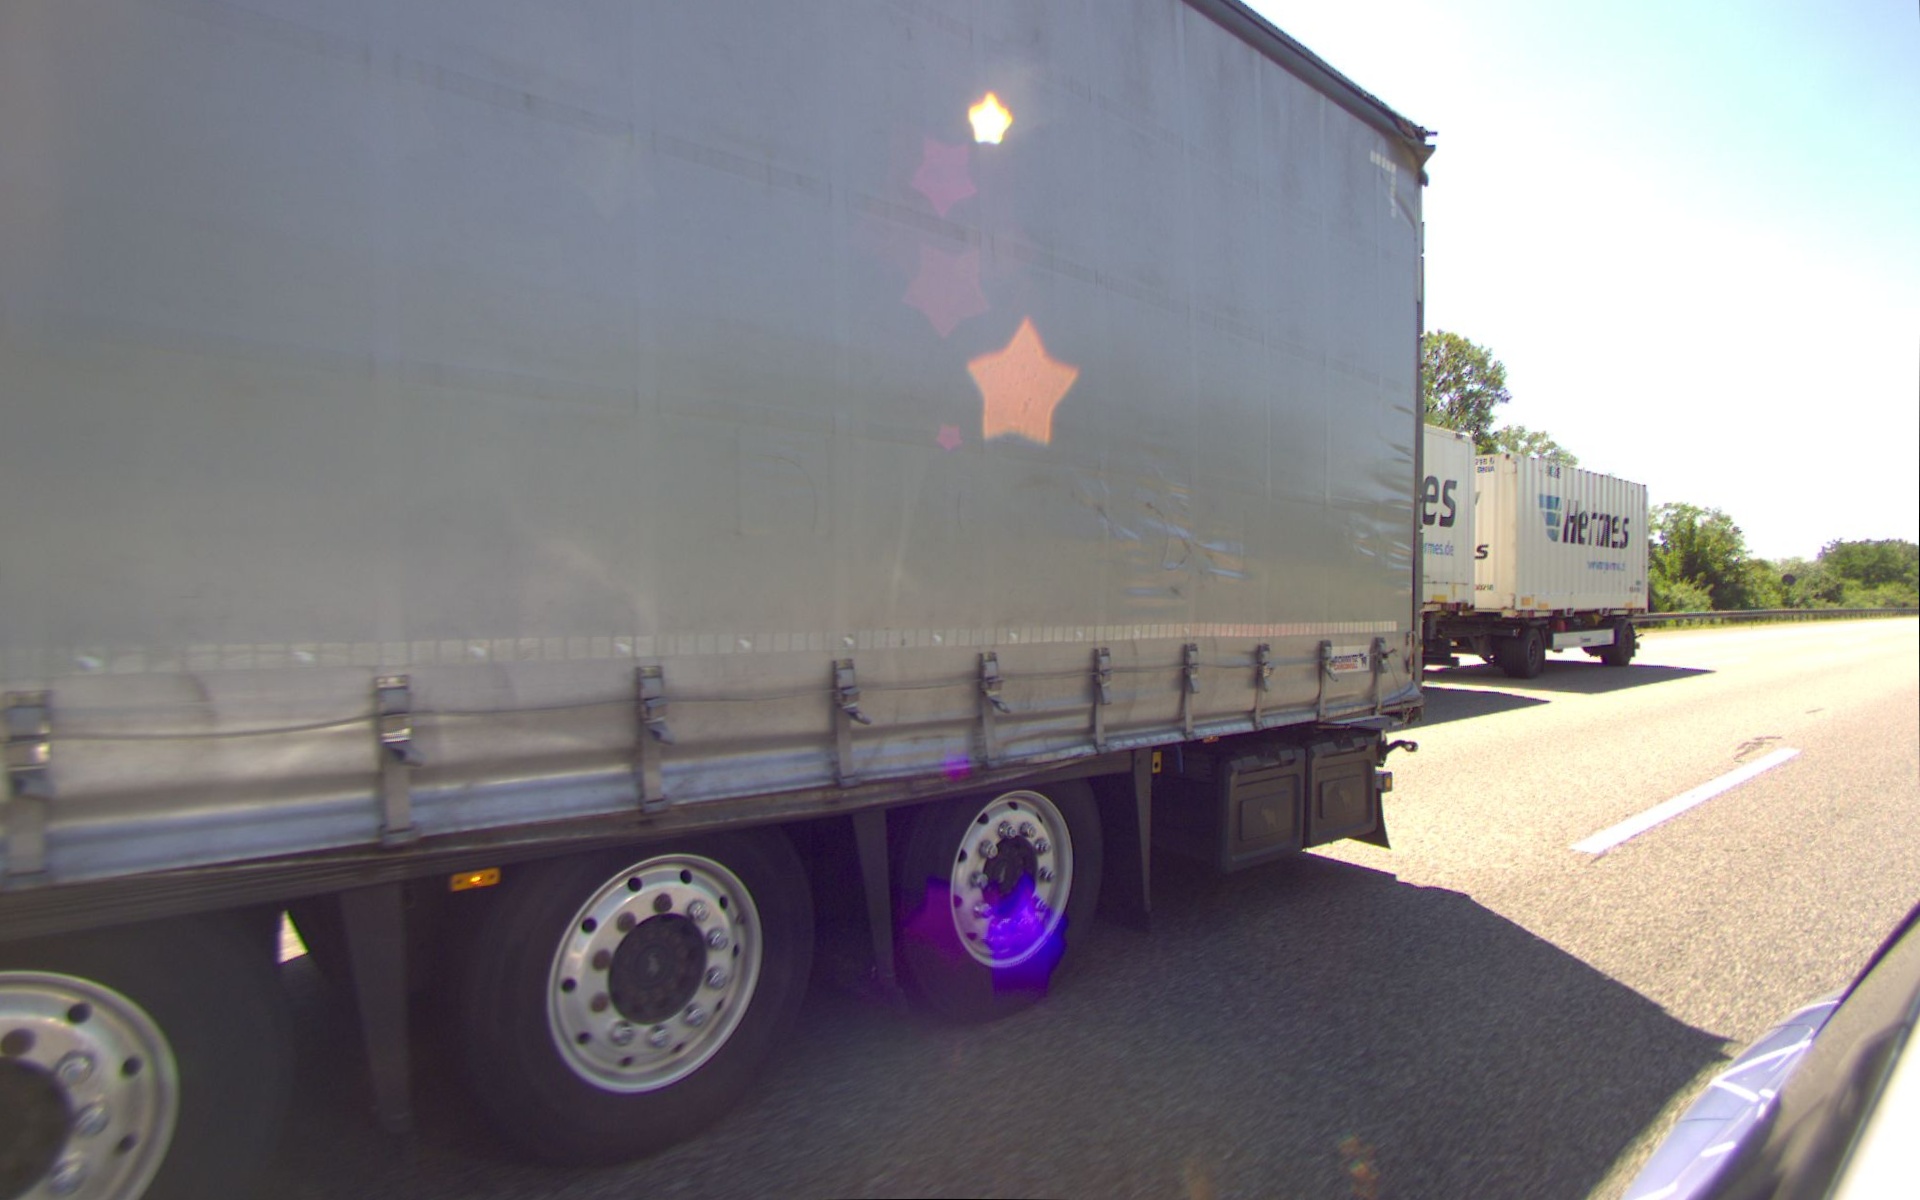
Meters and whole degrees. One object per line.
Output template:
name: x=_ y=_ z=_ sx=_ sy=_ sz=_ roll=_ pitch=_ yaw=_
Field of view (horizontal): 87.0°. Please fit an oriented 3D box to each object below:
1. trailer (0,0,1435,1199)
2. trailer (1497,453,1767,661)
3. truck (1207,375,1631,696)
trailer: x=-3.537 y=-0.646 z=1.766 sx=13.415 sy=4.025 sz=2.745 roll=0 pitch=0 yaw=-41
trailer: x=16.695 y=-0.886 z=24.620 sx=11.064 sy=4.111 sz=2.560 roll=0 pitch=0 yaw=-40
truck: x=8.491 y=-0.880 z=17.602 sx=10.481 sy=4.182 sz=2.531 roll=0 pitch=0 yaw=-40
